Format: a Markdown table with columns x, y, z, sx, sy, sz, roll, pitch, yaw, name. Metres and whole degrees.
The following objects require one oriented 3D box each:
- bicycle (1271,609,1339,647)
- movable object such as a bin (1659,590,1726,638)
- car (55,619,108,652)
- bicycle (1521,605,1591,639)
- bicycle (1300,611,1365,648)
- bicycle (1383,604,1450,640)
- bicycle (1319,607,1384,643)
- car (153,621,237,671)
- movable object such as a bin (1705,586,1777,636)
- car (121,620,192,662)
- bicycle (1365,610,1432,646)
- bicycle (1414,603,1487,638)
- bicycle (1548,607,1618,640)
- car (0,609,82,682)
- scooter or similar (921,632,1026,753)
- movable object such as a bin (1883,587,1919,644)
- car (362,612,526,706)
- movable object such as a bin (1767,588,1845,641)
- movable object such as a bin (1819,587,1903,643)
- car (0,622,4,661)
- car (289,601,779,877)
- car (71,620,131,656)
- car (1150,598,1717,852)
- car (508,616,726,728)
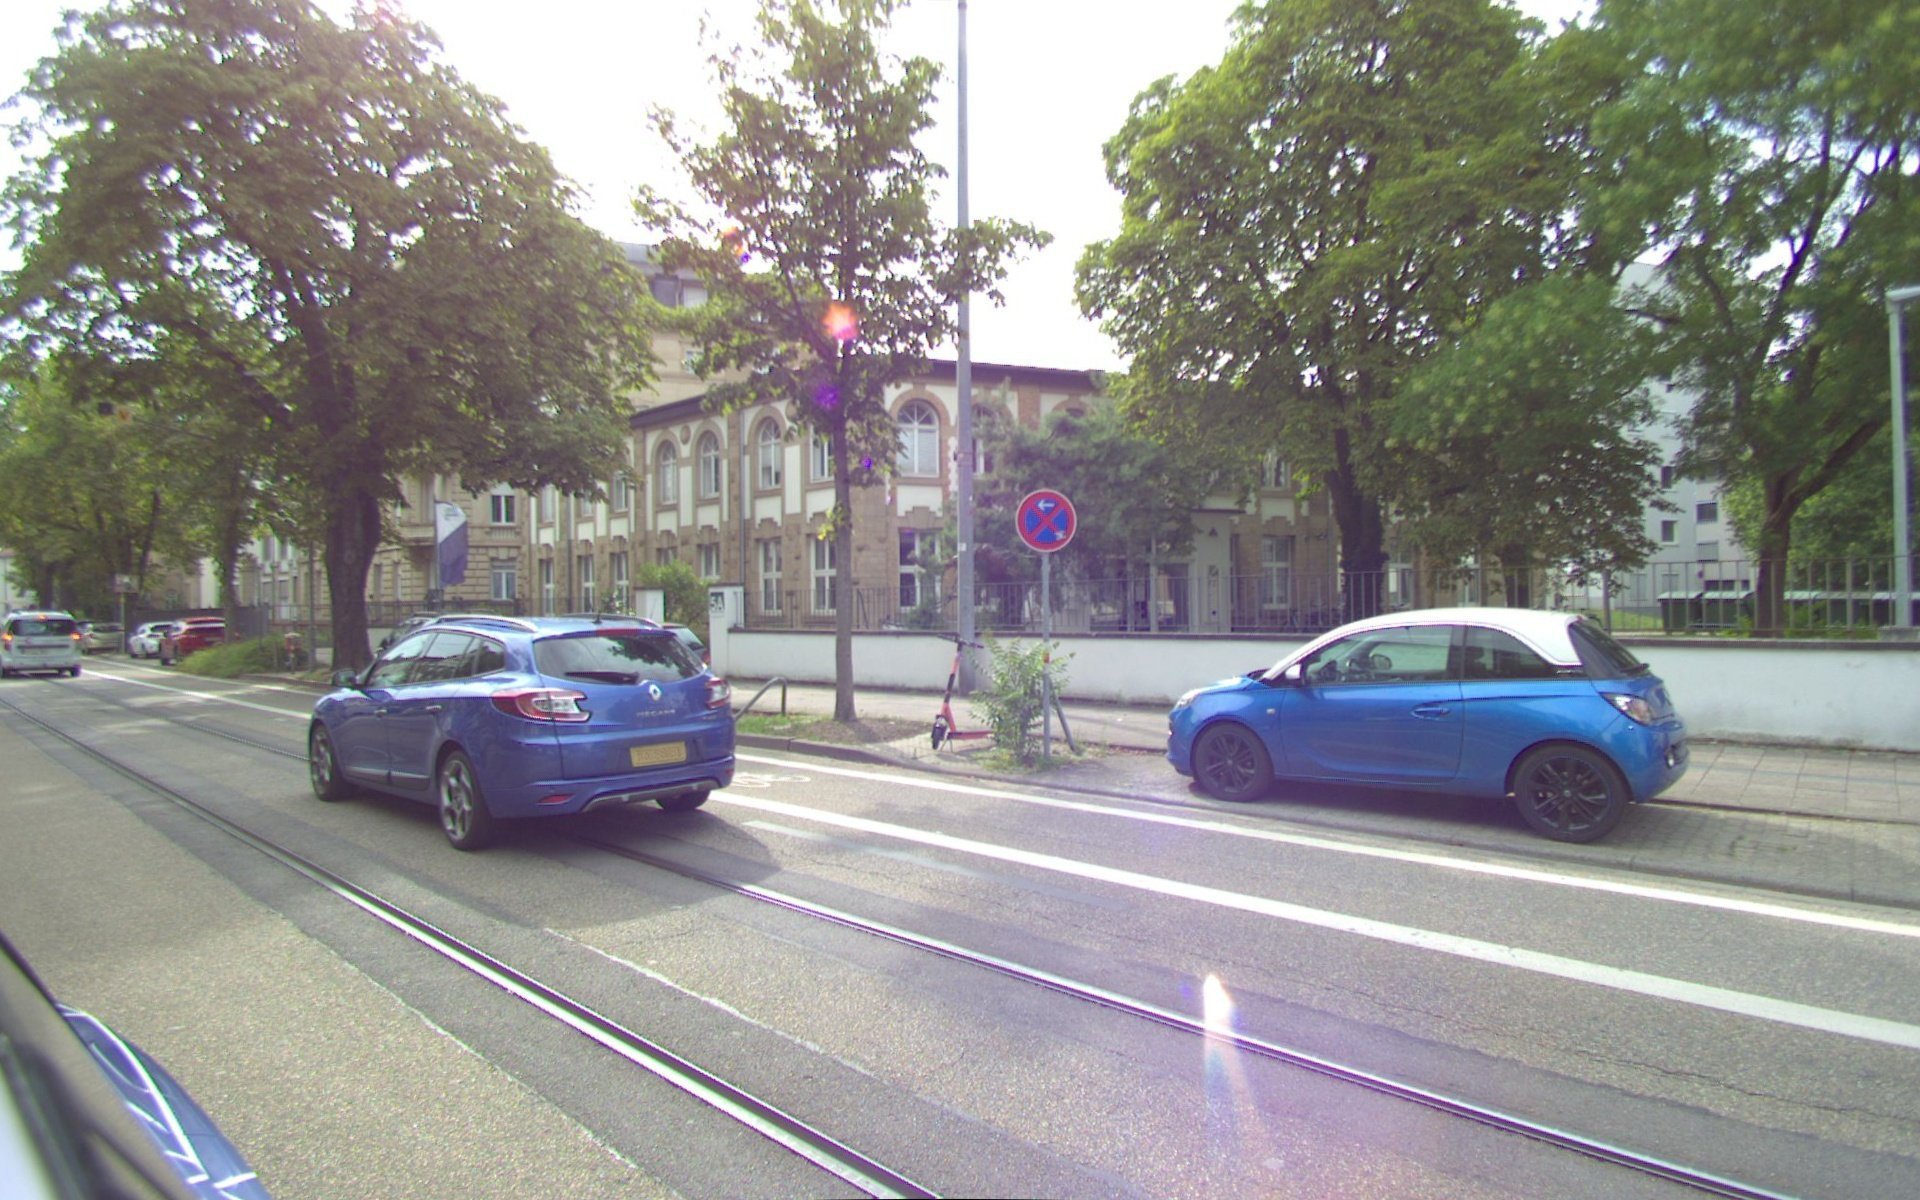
| x | y | z | sx | sy | sz | roll | pitch | yaw | name |
| --- | --- | --- | --- | --- | --- | --- | --- | --- | --- |
| 10.128 | 0.806 | 29.758 | 0.584 | 1.051 | 1.984 | -1 | 0 | -30 | bicycle |
| 22.624 | 0.412 | 31.276 | 1.103 | 1.441 | 1.288 | 0 | 0 | -20 | movable object such as a bin |
| -46.418 | 1.856 | 53.437 | 3.905 | 1.646 | 1.637 | -2 | -1 | 42 | car |
| 19.472 | 0.714 | 33.122 | 0.584 | 1.051 | 1.984 | -1 | 0 | -23 | bicycle |
| 11.009 | 0.847 | 29.987 | 0.584 | 1.051 | 1.984 | -1 | 0 | -23 | bicycle |
| 14.005 | 0.668 | 31.126 | 0.584 | 1.051 | 1.984 | -1 | 0 | -23 | bicycle |
| 11.705 | 0.729 | 30.315 | 0.584 | 1.051 | 1.984 | -1 | 0 | -23 | bicycle |
| -26.816 | 1.573 | 35.430 | 3.905 | 1.646 | 1.637 | -2 | -1 | 42 | car |
| 23.125 | 0.317 | 29.976 | 1.103 | 1.441 | 1.288 | 0 | 0 | -20 | movable object such as a bin |
| -33.060 | 1.660 | 41.601 | 3.905 | 1.613 | 1.637 | -2 | -1 | 42 | car |
| 13.310 | 0.823 | 30.793 | 0.584 | 1.051 | 1.984 | -1 | 0 | -23 | bicycle |
| 15.534 | 0.651 | 32.078 | 1.978 | 1.051 | 0.586 | -1 | 0 | 44 | bicycle |
| 20.695 | 0.763 | 33.664 | 0.584 | 1.051 | 1.984 | -1 | 0 | -23 | bicycle |
| -26.415 | 1.255 | 28.662 | 4.375 | 1.898 | 1.714 | -2 | -1 | 41 | car |
| 0.145 | 0.958 | 10.740 | 0.988 | 1.176 | 0.370 | -3 | 0 | -24 | scooter or similar |
| 24.532 | 0.382 | 25.662 | 1.103 | 1.441 | 1.288 | 0 | 0 | -20 | movable object such as a bin |
| -10.197 | 1.093 | 19.910 | 3.724 | 1.646 | 1.637 | -2 | -1 | 42 | car |
| 23.824 | 0.399 | 28.509 | 1.103 | 1.441 | 1.288 | 0 | 0 | -20 | movable object such as a bin |
| 24.191 | 0.395 | 27.187 | 1.103 | 1.441 | 1.288 | 0 | 0 | -20 | movable object such as a bin |
| -42.374 | 1.786 | 43.400 | 4.334 | 1.624 | 1.713 | -1 | -2 | 43 | car |
| -3.417 | 0.811 | 7.642 | 4.377 | 1.508 | 1.714 | -2 | -2 | 42 | car |
| -41.108 | 1.795 | 48.400 | 3.905 | 1.646 | 1.637 | -2 | -1 | 42 | car |
| 3.447 | 0.763 | 7.725 | 3.601 | 1.476 | 1.611 | -2 | -1 | 42 | car |
| -5.313 | 1.016 | 15.487 | 3.572 | 1.476 | 1.611 | -2 | -1 | 42 | car |
